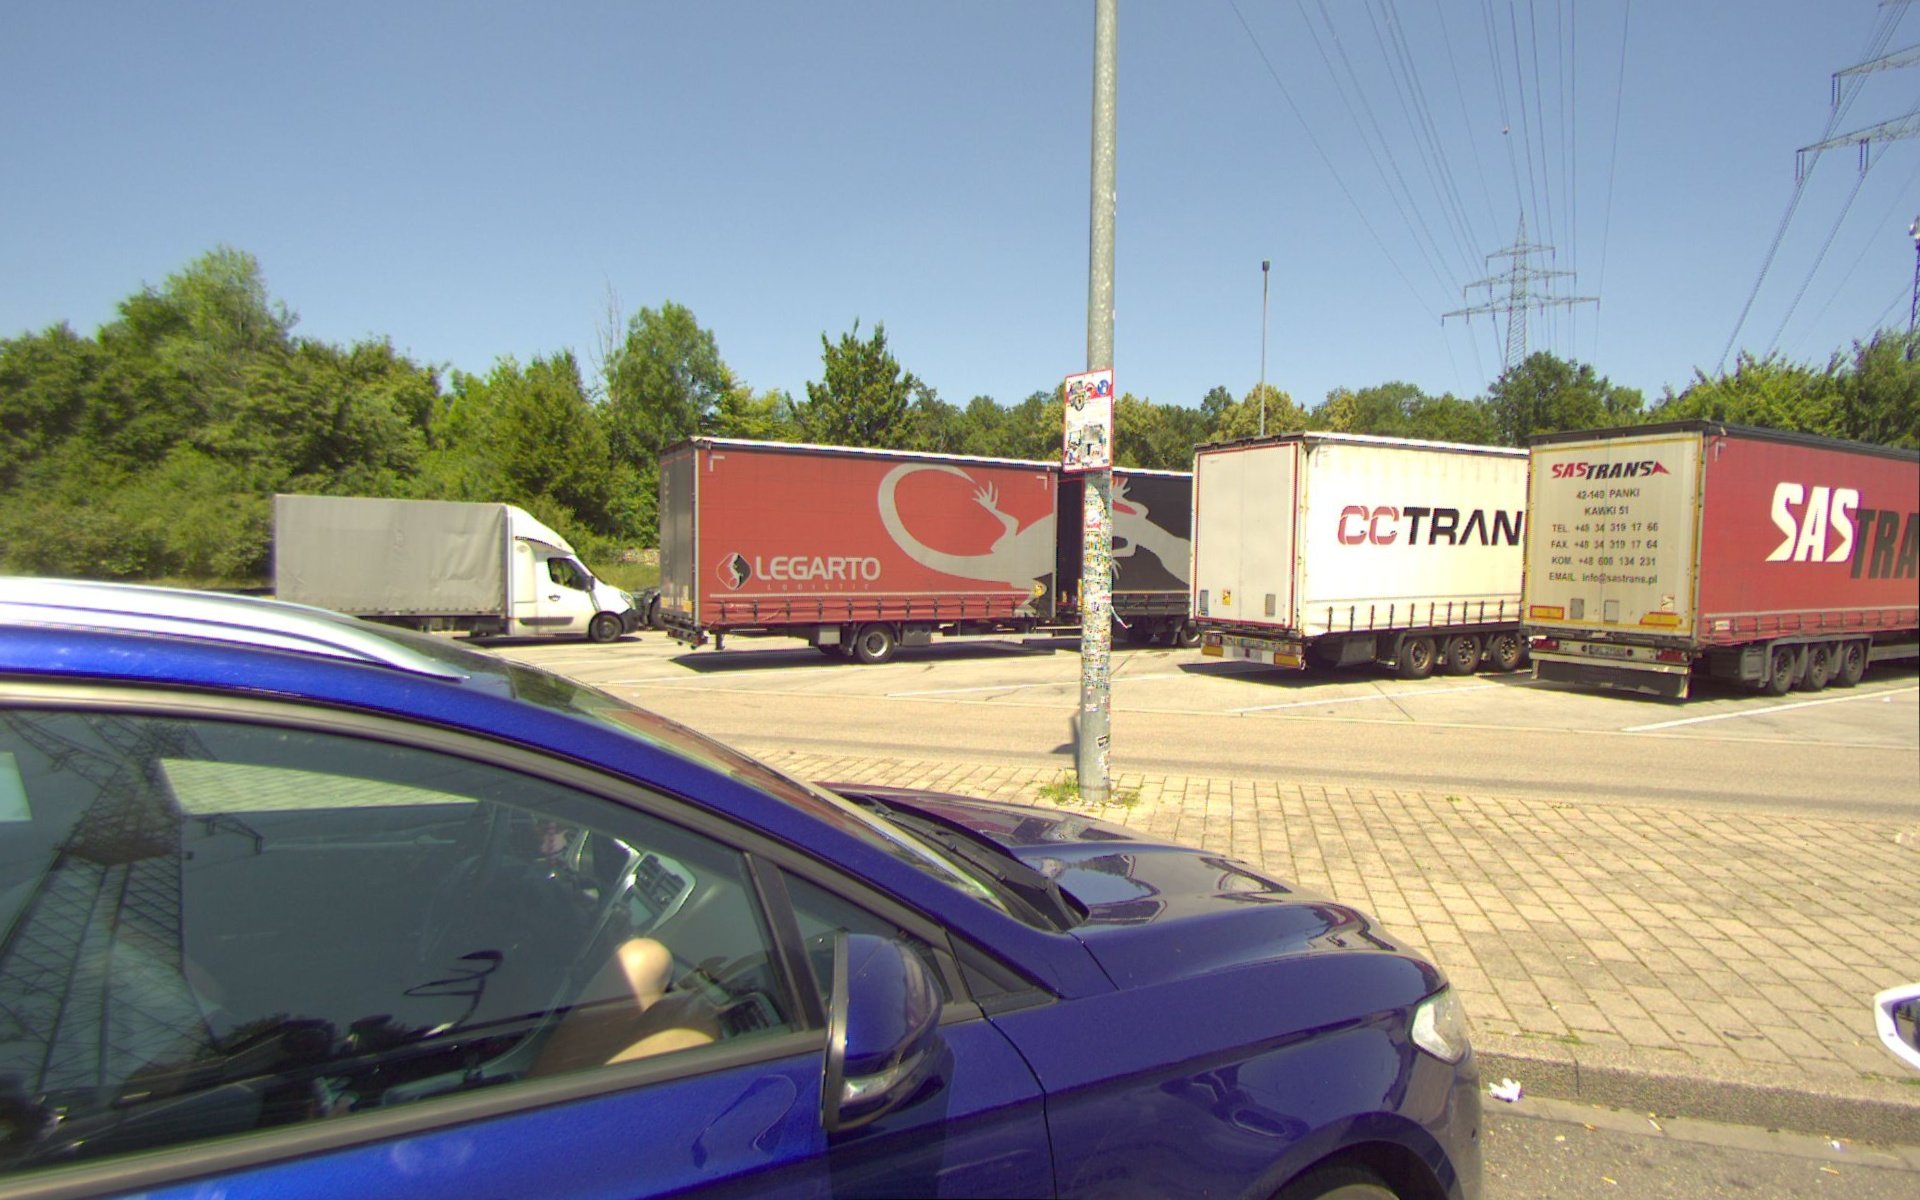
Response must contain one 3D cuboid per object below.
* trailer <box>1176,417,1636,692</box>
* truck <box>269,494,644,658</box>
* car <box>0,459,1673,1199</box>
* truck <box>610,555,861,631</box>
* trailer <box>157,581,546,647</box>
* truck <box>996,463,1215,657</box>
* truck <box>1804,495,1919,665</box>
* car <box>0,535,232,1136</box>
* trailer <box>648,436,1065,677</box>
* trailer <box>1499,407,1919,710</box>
[{"bbox_3d":[8.874,-0.826,19.331,10.049,4.267,2.714,-1,3,-30],"label":"trailer"},{"bbox_3d":[-11.195,-0.581,22.907,7.254,3.254,2.515,-1,3,-30],"label":"truck"},{"bbox_3d":[-0.973,0.653,1.474,4.592,1.502,1.727,0,0,-33],"label":"car"},{"bbox_3d":[-6.475,-0.172,29.530,6.961,2.040,1.984,0,0,-30],"label":"truck"},{"bbox_3d":[-14.823,0.250,25.191,7.996,1.394,2.211,-1,3,-30],"label":"trailer"},{"bbox_3d":[3.364,-0.911,23.365,4.273,4.072,2.689,-1,3,-30],"label":"truck"},{"bbox_3d":[21.735,-0.437,22.311,5.418,3.475,2.838,-1,3,-30],"label":"truck"},{"bbox_3d":[-4.546,0.581,2.259,4.592,1.554,1.726,0,1,-33],"label":"car"},{"bbox_3d":[-1.919,-0.837,20.271,7.996,4.101,2.696,-1,3,-30],"label":"trailer"},{"bbox_3d":[15.413,-0.708,18.567,13.559,4.189,2.892,-1,3,-30],"label":"trailer"}]
